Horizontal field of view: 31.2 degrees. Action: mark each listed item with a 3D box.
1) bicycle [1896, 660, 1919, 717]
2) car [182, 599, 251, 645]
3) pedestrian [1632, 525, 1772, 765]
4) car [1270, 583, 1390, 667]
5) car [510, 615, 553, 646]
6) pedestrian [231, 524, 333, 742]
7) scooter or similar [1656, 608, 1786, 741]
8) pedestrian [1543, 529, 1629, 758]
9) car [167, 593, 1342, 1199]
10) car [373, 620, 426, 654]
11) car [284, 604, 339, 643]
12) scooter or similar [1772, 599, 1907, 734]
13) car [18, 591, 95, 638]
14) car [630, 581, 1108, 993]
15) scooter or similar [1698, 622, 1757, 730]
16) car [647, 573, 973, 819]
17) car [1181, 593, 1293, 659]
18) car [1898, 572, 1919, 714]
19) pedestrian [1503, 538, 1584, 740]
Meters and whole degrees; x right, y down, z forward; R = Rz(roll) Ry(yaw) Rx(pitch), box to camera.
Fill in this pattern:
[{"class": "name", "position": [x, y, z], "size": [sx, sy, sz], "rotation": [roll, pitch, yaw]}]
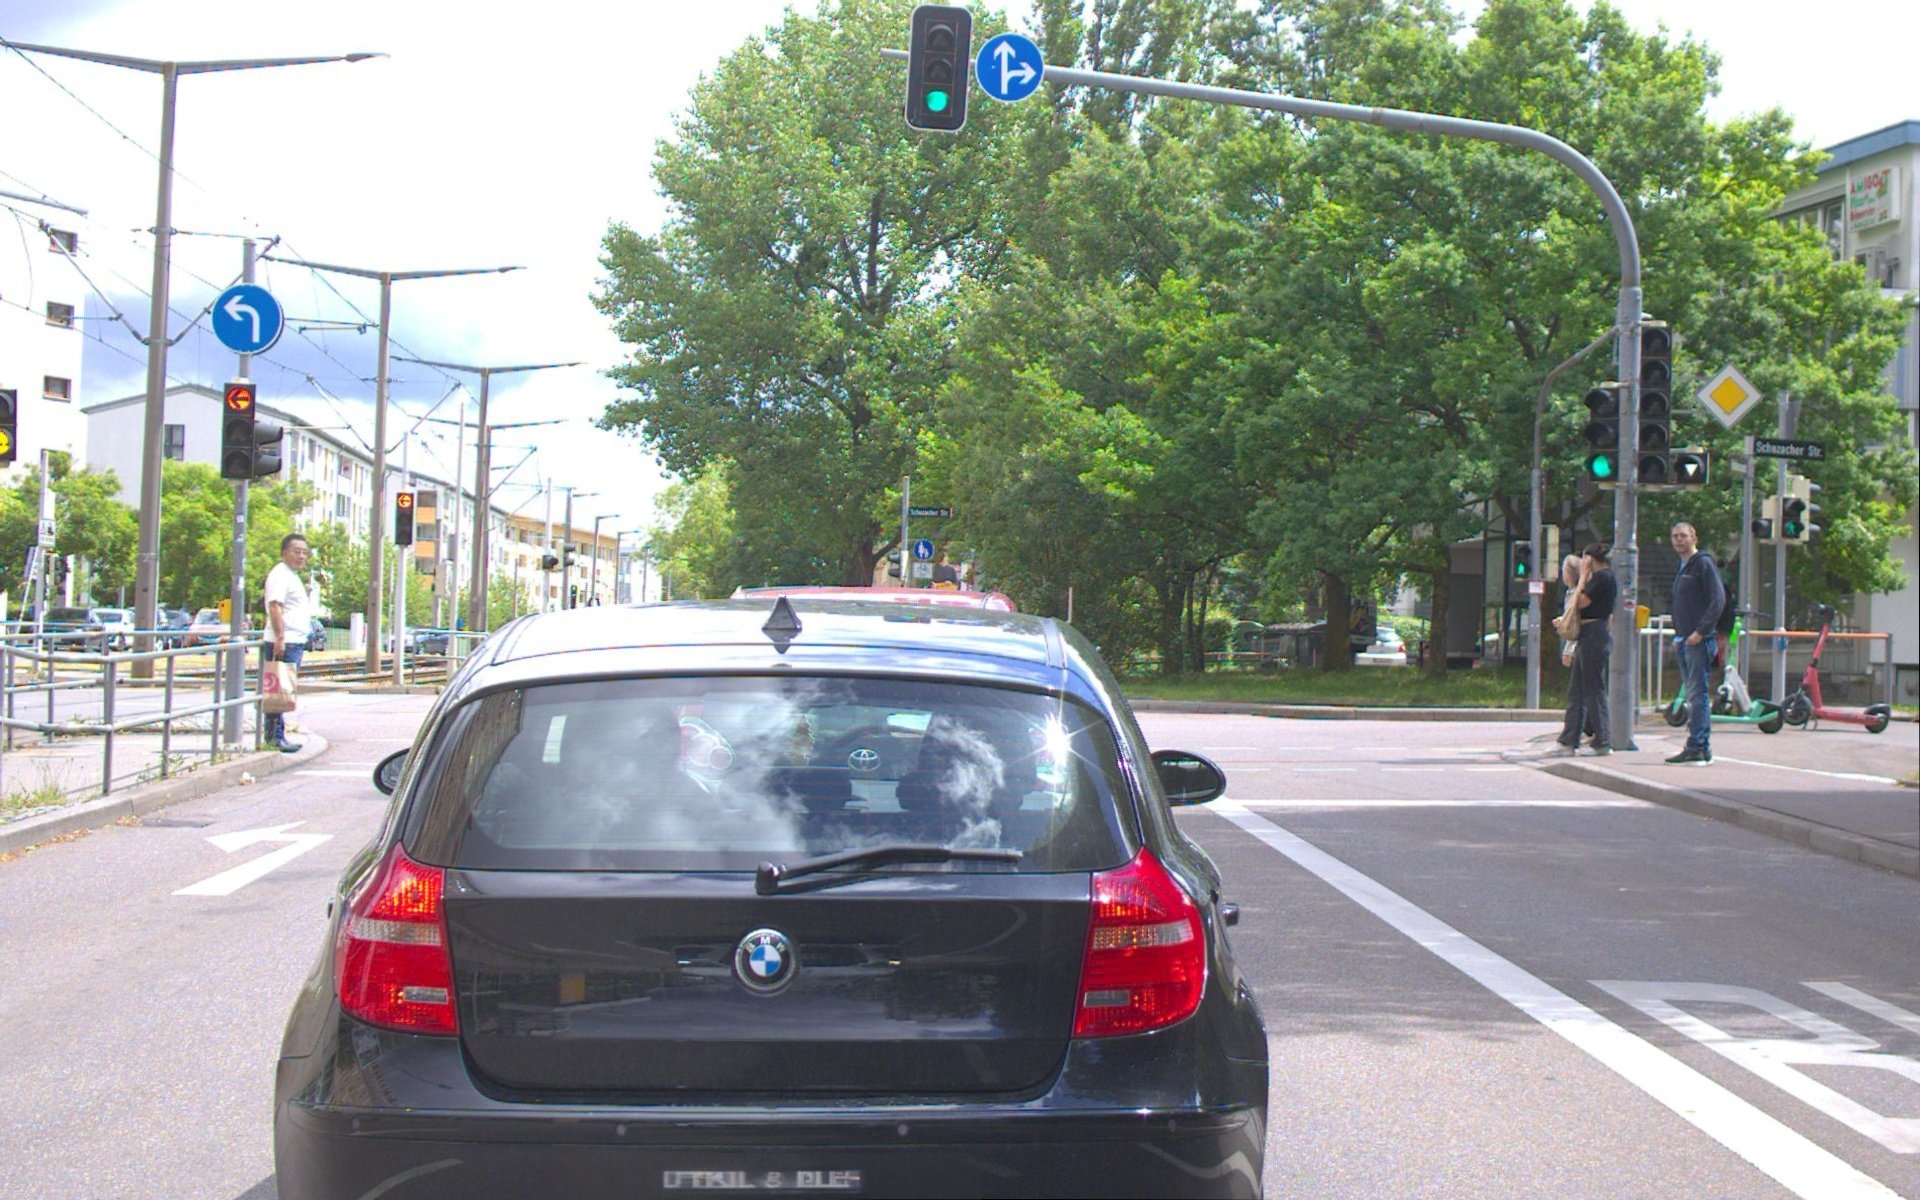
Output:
[{"class": "bicycle", "position": [10.848, 0.987, 37.343], "size": [0.532, 0.608, 1.591], "rotation": [3, 0, -17]}, {"class": "car", "position": [-25.923, 0.766, 119.973], "size": [1.651, 1.529, 3.872], "rotation": [1, 0, -2]}, {"class": "pedestrian", "position": [5.914, 0.350, 27.450], "size": [1.010, 1.870, 0.797], "rotation": [1, 0, 9]}, {"class": "car", "position": [8.561, 0.555, 79.776], "size": [1.726, 1.865, 4.001], "rotation": [1, 0, -9]}, {"class": "car", "position": [-21.751, 1.536, 174.688], "size": [1.651, 1.529, 3.871], "rotation": [1, 0, 0]}, {"class": "pedestrian", "position": [-5.445, 0.259, 27.639], "size": [0.687, 1.728, 0.687], "rotation": [0, 0, -1]}, {"class": "scooter or similar", "position": [7.290, 0.709, 32.951], "size": [1.110, 1.231, 0.539], "rotation": [1, 0, 2]}, {"class": "pedestrian", "position": [5.196, 0.354, 28.558], "size": [0.636, 1.870, 0.518], "rotation": [1, 0, 6]}, {"class": "car", "position": [-0.322, 0.708, 6.726], "size": [1.700, 1.395, 3.420], "rotation": [1, 0, -1]}, {"class": "car", "position": [-25.993, 1.711, 159.494], "size": [1.651, 1.529, 3.871], "rotation": [1, 0, 3]}, {"class": "car", "position": [-26.531, 0.959, 140.741], "size": [1.651, 1.529, 3.872], "rotation": [1, 0, -2]}, {"class": "scooter or similar", "position": [8.665, 0.648, 33.881], "size": [1.150, 1.268, 0.555], "rotation": [2, 0, 2]}, {"class": "car", "position": [-29.391, 0.458, 111.916], "size": [1.591, 1.469, 3.775], "rotation": [1, 0, -2]}, {"class": "car", "position": [-0.336, 0.641, 13.668], "size": [1.638, 1.395, 3.420], "rotation": [1, 0, -1]}, {"class": "scooter or similar", "position": [7.793, 0.761, 34.898], "size": [0.548, 1.060, 1.261], "rotation": [1, 0, 13]}, {"class": "car", "position": [-0.911, 0.548, 22.570], "size": [1.900, 1.417, 4.539], "rotation": [1, 0, -1]}, {"class": "car", "position": [7.274, 0.664, 90.681], "size": [1.862, 1.656, 4.001], "rotation": [1, 0, -11]}, {"class": "car", "position": [15.783, 0.642, 48.345], "size": [4.534, 2.007, 2.000], "rotation": [1, 0, -8]}, {"class": "pedestrian", "position": [5.153, 0.336, 30.376], "size": [0.636, 1.760, 0.518], "rotation": [1, 0, 6]}]
